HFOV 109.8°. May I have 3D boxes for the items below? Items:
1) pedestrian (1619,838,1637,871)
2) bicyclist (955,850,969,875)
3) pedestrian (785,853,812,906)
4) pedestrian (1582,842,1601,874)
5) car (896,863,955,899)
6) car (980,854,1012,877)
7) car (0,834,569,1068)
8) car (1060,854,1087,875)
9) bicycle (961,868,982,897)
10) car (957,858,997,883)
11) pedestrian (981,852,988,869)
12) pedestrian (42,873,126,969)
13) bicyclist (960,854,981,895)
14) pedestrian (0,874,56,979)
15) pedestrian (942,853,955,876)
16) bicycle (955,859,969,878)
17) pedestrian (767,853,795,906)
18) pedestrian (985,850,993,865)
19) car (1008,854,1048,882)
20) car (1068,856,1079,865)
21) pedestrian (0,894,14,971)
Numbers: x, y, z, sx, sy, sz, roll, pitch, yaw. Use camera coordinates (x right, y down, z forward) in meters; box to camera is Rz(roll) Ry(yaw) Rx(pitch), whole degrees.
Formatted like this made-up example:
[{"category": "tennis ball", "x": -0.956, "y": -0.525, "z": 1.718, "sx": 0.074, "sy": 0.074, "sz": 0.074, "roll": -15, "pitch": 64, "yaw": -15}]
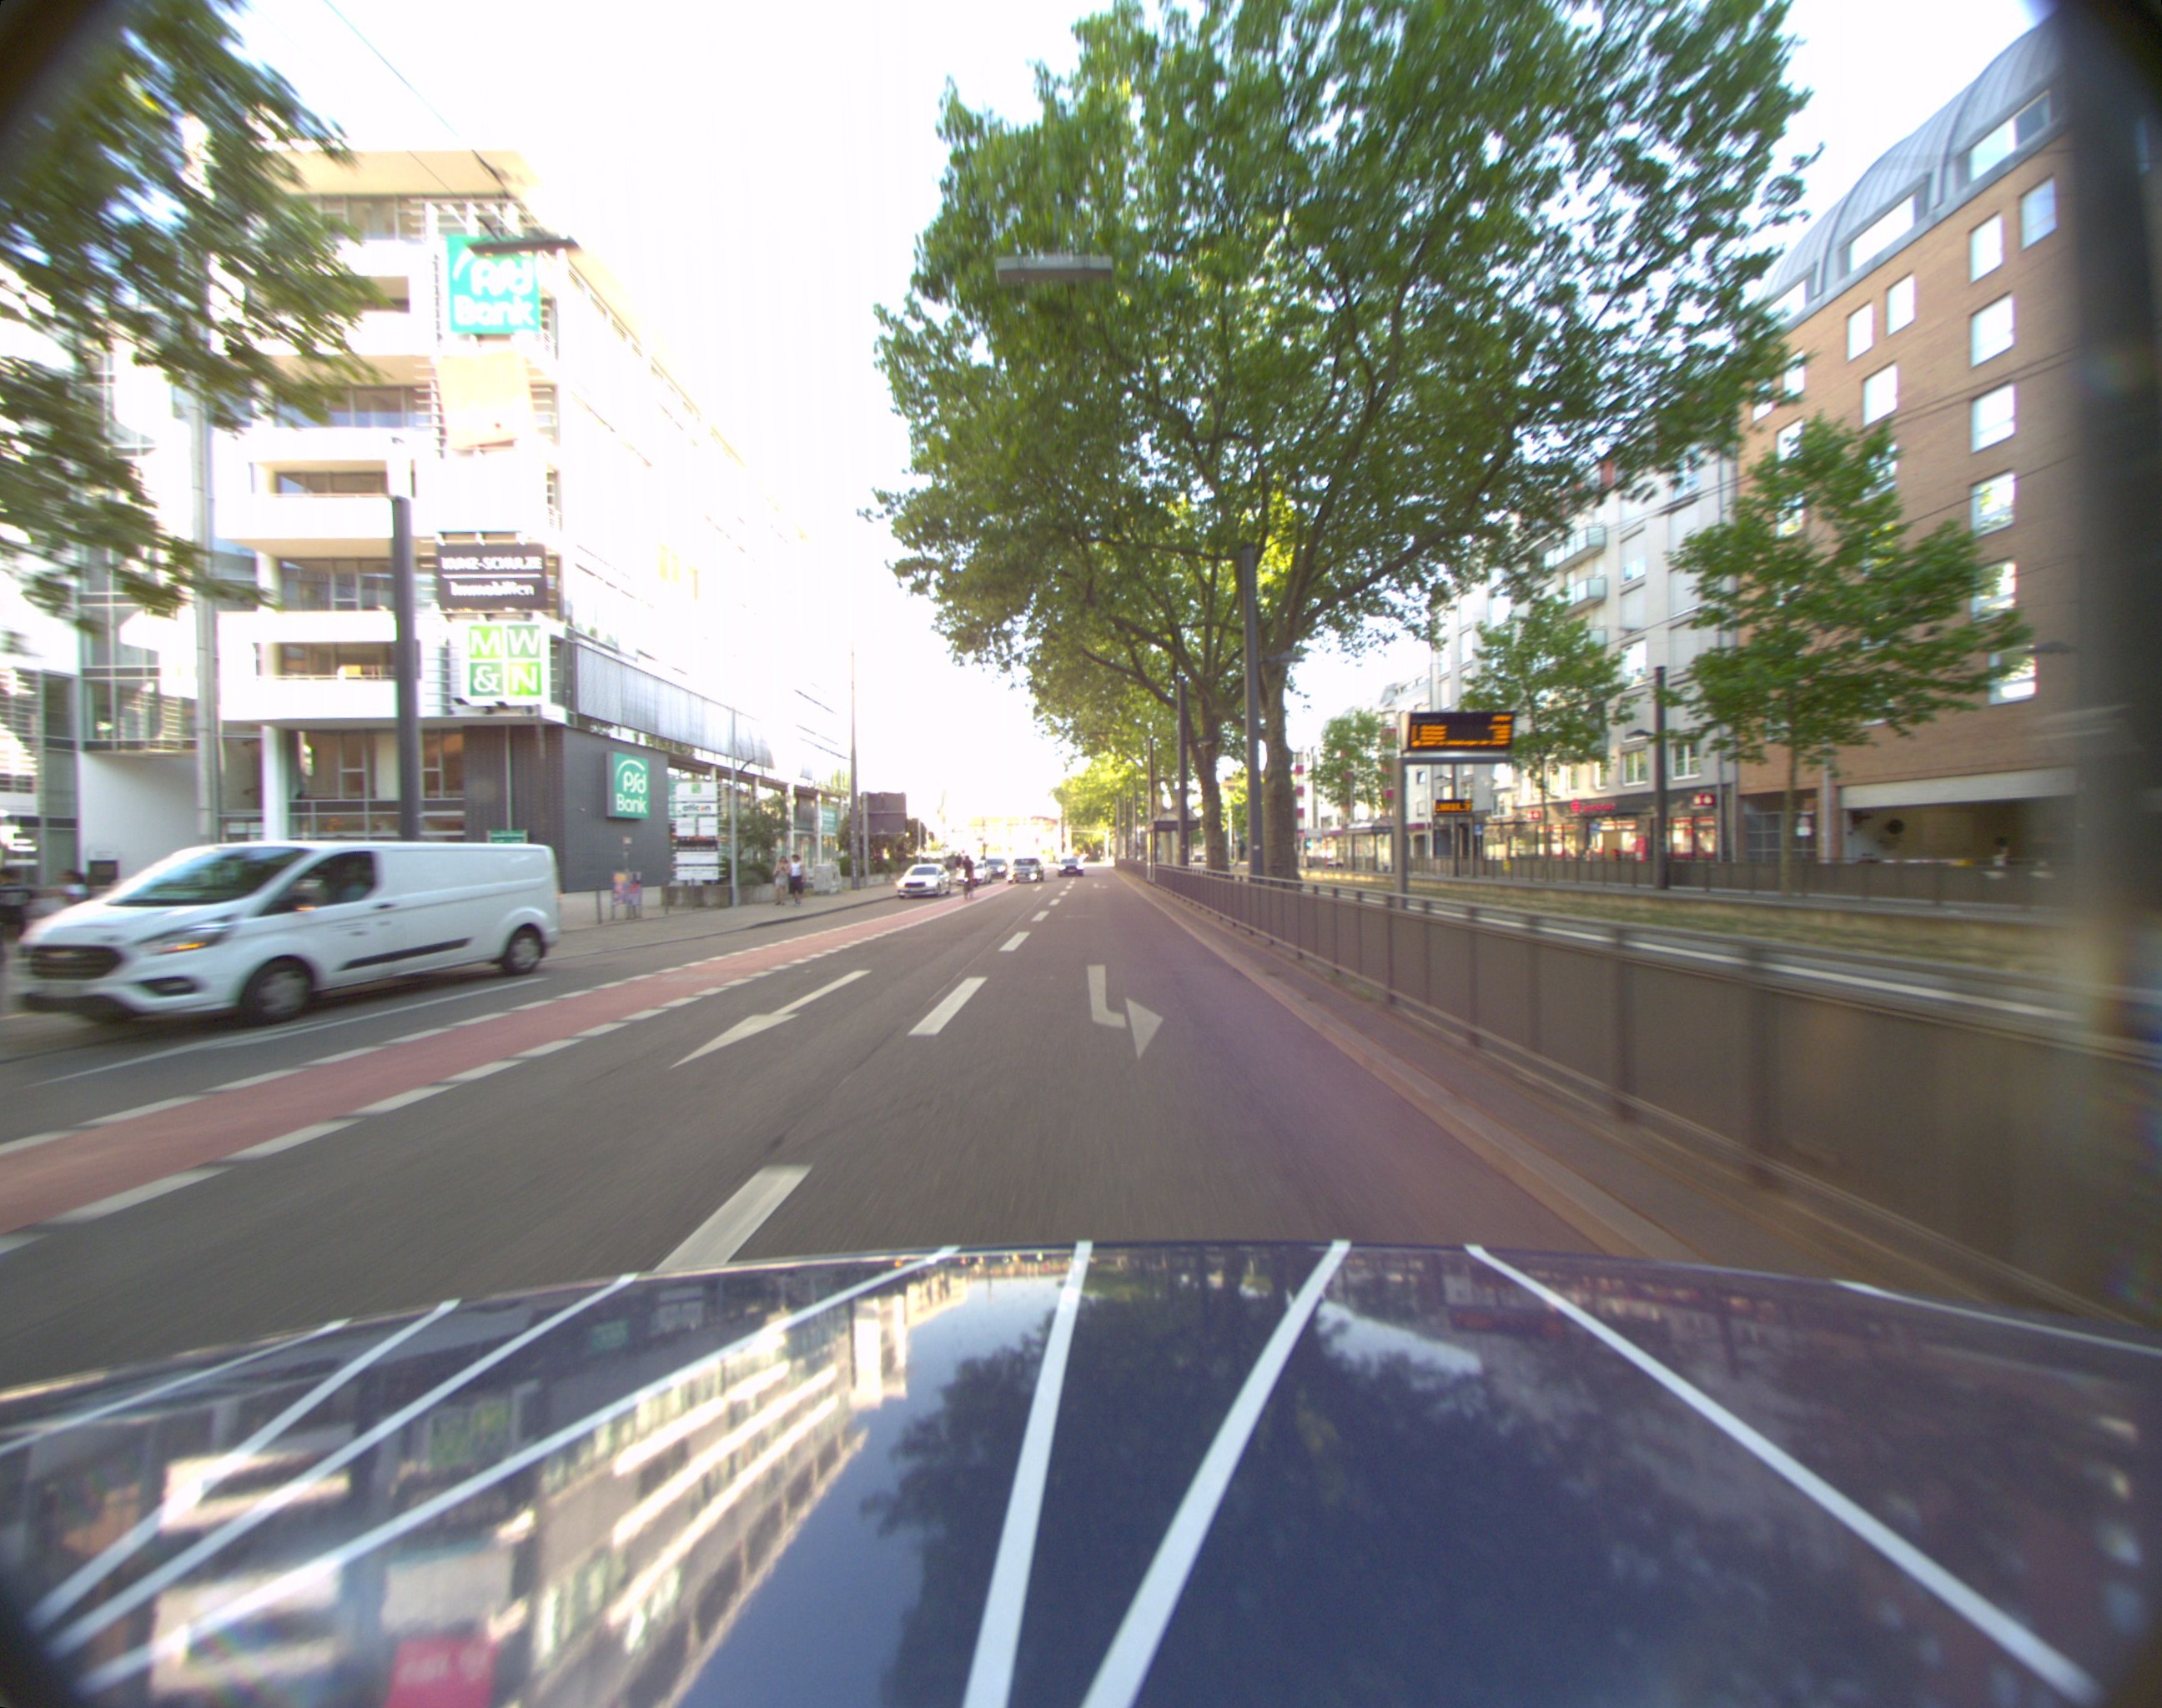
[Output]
[{"category": "pedestrian", "x": 29.592, "y": 0.038, "z": 41.109, "sx": 0.503, "sy": 1.760, "sz": 0.629, "roll": -2, "pitch": 1, "yaw": 0}, {"category": "bicyclist", "x": -8.516, "y": 0.593, "z": 54.414, "sx": 0.743, "sy": 1.752, "sz": 1.209, "roll": 2, "pitch": 1, "yaw": 1}, {"category": "pedestrian", "x": -9.790, "y": 0.882, "z": 26.377, "sx": 0.564, "sy": 1.798, "sz": 0.891, "roll": 0, "pitch": 1, "yaw": 1}, {"category": "pedestrian", "x": 28.286, "y": 0.229, "z": 42.123, "sx": 0.503, "sy": 1.760, "sz": 0.784, "roll": -2, "pitch": 1, "yaw": 0}, {"category": "car", "x": -6.858, "y": 1.171, "z": 33.957, "sx": 1.786, "sy": 1.411, "sz": 4.021, "roll": -1, "pitch": 0, "yaw": 0}, {"category": "car", "x": -6.433, "y": 0.839, "z": 57.896, "sx": 1.998, "sy": 1.587, "sz": 4.000, "roll": -1, "pitch": 0, "yaw": 0}, {"category": "car", "x": -9.407, "y": 0.872, "z": 9.546, "sx": 2.128, "sy": 2.122, "sz": 5.290, "roll": -1, "pitch": 0, "yaw": 3}, {"category": "car", "x": -0.576, "y": 0.729, "z": 56.256, "sx": 1.827, "sy": 1.416, "sz": 4.345, "roll": -2, "pitch": 0, "yaw": -1}, {"category": "bicycle", "x": -4.529, "y": 1.148, "z": 31.570, "sx": 0.551, "sy": 1.114, "sz": 2.126, "roll": 0, "pitch": 0, "yaw": 0}, {"category": "car", "x": -6.399, "y": 0.988, "z": 47.131, "sx": 1.671, "sy": 1.455, "sz": 3.870, "roll": -1, "pitch": 0, "yaw": 4}, {"category": "pedestrian", "x": -9.339, "y": 0.611, "z": 73.754, "sx": 0.527, "sy": 1.573, "sz": 0.589, "roll": 1, "pitch": 1, "yaw": 2}, {"category": "pedestrian", "x": -16.270, "y": 1.073, "z": 12.415, "sx": 0.516, "sy": 1.514, "sz": 0.636, "roll": 0, "pitch": 1, "yaw": 7}, {"category": "bicyclist", "x": -4.571, "y": 0.845, "z": 31.512, "sx": 0.752, "sy": 1.678, "sz": 0.714, "roll": 0, "pitch": 1, "yaw": 0}, {"category": "pedestrian", "x": -16.266, "y": 1.082, "z": 11.520, "sx": 0.577, "sy": 1.534, "sz": 0.638, "roll": 0, "pitch": 1, "yaw": 7}, {"category": "pedestrian", "x": -9.555, "y": 0.756, "z": 54.759, "sx": 0.753, "sy": 1.566, "sz": 0.912, "roll": -1, "pitch": 1, "yaw": 3}, {"category": "bicycle", "x": -8.532, "y": 1.018, "z": 54.472, "sx": 0.665, "sy": 1.268, "sz": 1.928, "roll": 2, "pitch": 1, "yaw": 1}, {"category": "pedestrian", "x": -10.420, "y": 0.878, "z": 26.422, "sx": 0.591, "sy": 1.798, "sz": 0.896, "roll": 0, "pitch": 1, "yaw": 1}, {"category": "pedestrian", "x": -9.916, "y": 0.399, "z": 81.743, "sx": 0.693, "sy": 1.573, "sz": 0.664, "roll": 1, "pitch": 1, "yaw": 2}, {"category": "car", "x": -3.249, "y": 0.831, "z": 47.300, "sx": 1.785, "sy": 1.628, "sz": 4.023, "roll": -1, "pitch": 0, "yaw": 6}, {"category": "car", "x": -1.267, "y": 1.129, "z": 129.344, "sx": 1.827, "sy": 1.416, "sz": 4.345, "roll": -2, "pitch": 0, "yaw": -1}, {"category": "pedestrian", "x": -17.581, "y": 1.261, "z": 11.955, "sx": 0.615, "sy": 1.214, "sz": 0.677, "roll": 0, "pitch": 1, "yaw": 4}]
